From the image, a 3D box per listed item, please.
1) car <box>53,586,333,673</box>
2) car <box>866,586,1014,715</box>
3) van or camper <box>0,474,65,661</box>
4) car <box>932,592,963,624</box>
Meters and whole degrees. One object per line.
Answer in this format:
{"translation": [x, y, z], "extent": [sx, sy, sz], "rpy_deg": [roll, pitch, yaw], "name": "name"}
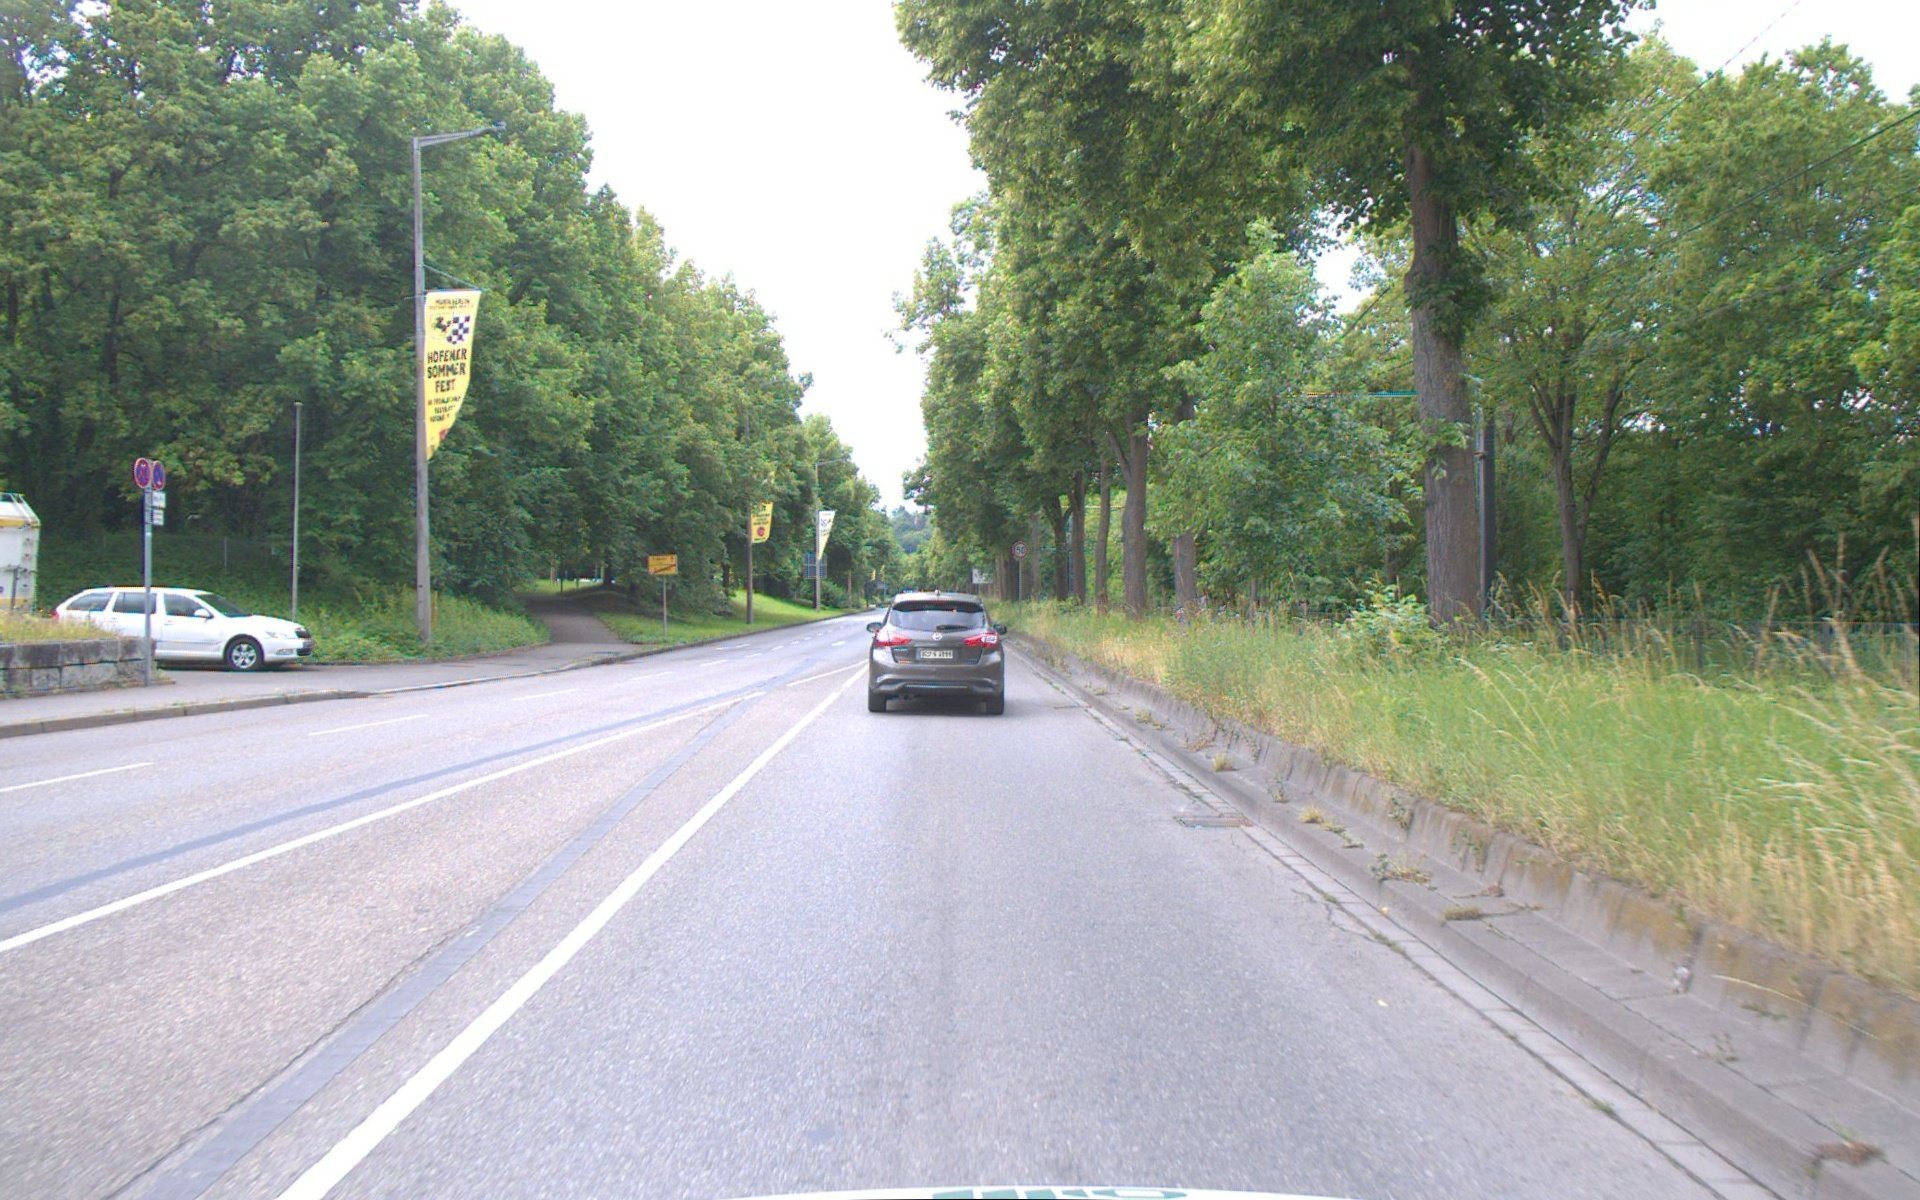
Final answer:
{"translation": [-14.272, 0.534, 30.985], "extent": [4.288, 1.466, 1.960], "rpy_deg": [2, 0, -3], "name": "car"}
{"translation": [-0.211, 0.630, 22.289], "extent": [1.799, 1.555, 3.929], "rpy_deg": [1, 0, 1], "name": "car"}
{"translation": [-21.015, -0.906, 30.686], "extent": [6.998, 3.429, 2.796], "rpy_deg": [5, 0, -1], "name": "van or camper"}
{"translation": [-0.621, 0.414, 84.209], "extent": [1.472, 1.555, 3.671], "rpy_deg": [1, 0, 1], "name": "car"}
